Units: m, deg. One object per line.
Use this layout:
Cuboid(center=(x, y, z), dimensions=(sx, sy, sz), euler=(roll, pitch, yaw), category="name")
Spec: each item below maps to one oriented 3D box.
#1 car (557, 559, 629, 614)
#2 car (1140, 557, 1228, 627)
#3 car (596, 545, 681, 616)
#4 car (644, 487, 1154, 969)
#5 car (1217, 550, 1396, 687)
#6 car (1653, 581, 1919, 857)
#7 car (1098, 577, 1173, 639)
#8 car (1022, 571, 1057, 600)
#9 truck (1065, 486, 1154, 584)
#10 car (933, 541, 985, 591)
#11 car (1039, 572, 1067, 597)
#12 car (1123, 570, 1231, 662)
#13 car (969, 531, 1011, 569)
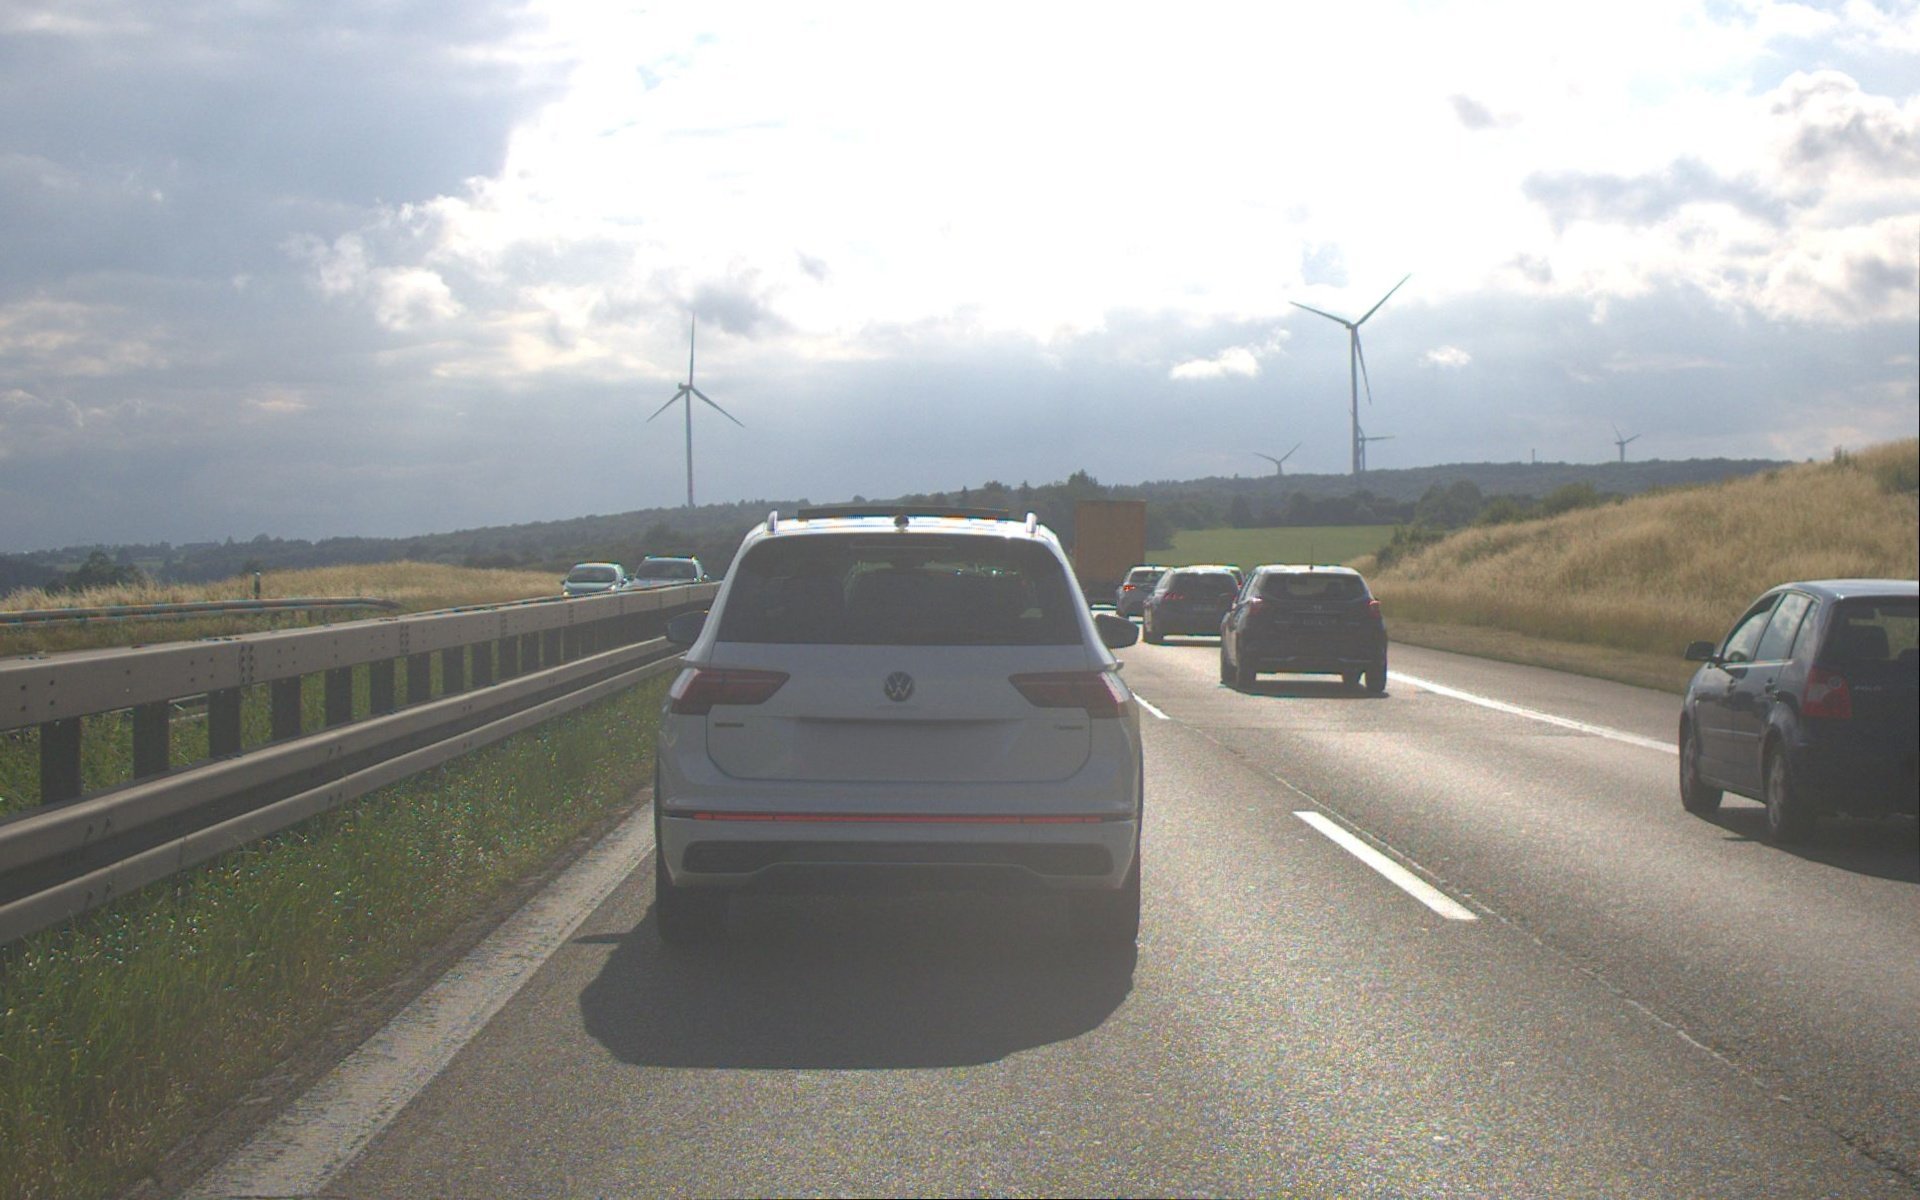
Cuboid(center=(-10.906, -0.414, 102.303), dimensions=(1.734, 1.582, 4.117), euler=(1, 0, -1), category="car")
Cuboid(center=(5.097, -0.192, 78.720), dimensions=(1.704, 1.540, 4.000), euler=(1, 0, 0), category="car")
Cuboid(center=(-8.274, -0.497, 88.699), dimensions=(1.823, 1.764, 4.364), euler=(1, 0, -1), category="car")
Cuboid(center=(-0.227, 0.437, 14.037), dimensions=(1.770, 1.670, 4.000), euler=(1, 0, 0), category="car")
Cuboid(center=(4.102, 0.196, 41.229), dimensions=(1.704, 1.540, 4.000), euler=(1, 0, 0), category="car")
Cuboid(center=(5.121, 0.610, 19.568), dimensions=(1.605, 1.415, 3.672), euler=(1, 0, 0), category="car")
Cuboid(center=(4.518, 0.191, 89.012), dimensions=(1.704, 1.540, 4.000), euler=(1, 0, 0), category="car")
Cuboid(center=(4.249, -0.771, 183.323), dimensions=(1.704, 1.540, 4.000), euler=(1, 0, 3), category="car")
Cuboid(center=(5.679, -2.500, 132.153), dimensions=(3.184, 3.581, 11.130), euler=(1, 1, 2), category="truck")
Cuboid(center=(-0.054, -1.123, 114.579), dimensions=(1.704, 1.644, 4.000), euler=(1, 0, 0), category="car")
Cuboid(center=(5.807, -0.980, 213.283), dimensions=(1.704, 1.540, 4.000), euler=(1, 0, 2), category="car")
Cuboid(center=(3.999, 0.276, 63.747), dimensions=(1.704, 1.644, 4.000), euler=(1, 0, 0), category="car")
Cuboid(center=(1.252, -2.099, 144.424), dimensions=(1.704, 1.540, 4.000), euler=(1, 0, 0), category="car")
